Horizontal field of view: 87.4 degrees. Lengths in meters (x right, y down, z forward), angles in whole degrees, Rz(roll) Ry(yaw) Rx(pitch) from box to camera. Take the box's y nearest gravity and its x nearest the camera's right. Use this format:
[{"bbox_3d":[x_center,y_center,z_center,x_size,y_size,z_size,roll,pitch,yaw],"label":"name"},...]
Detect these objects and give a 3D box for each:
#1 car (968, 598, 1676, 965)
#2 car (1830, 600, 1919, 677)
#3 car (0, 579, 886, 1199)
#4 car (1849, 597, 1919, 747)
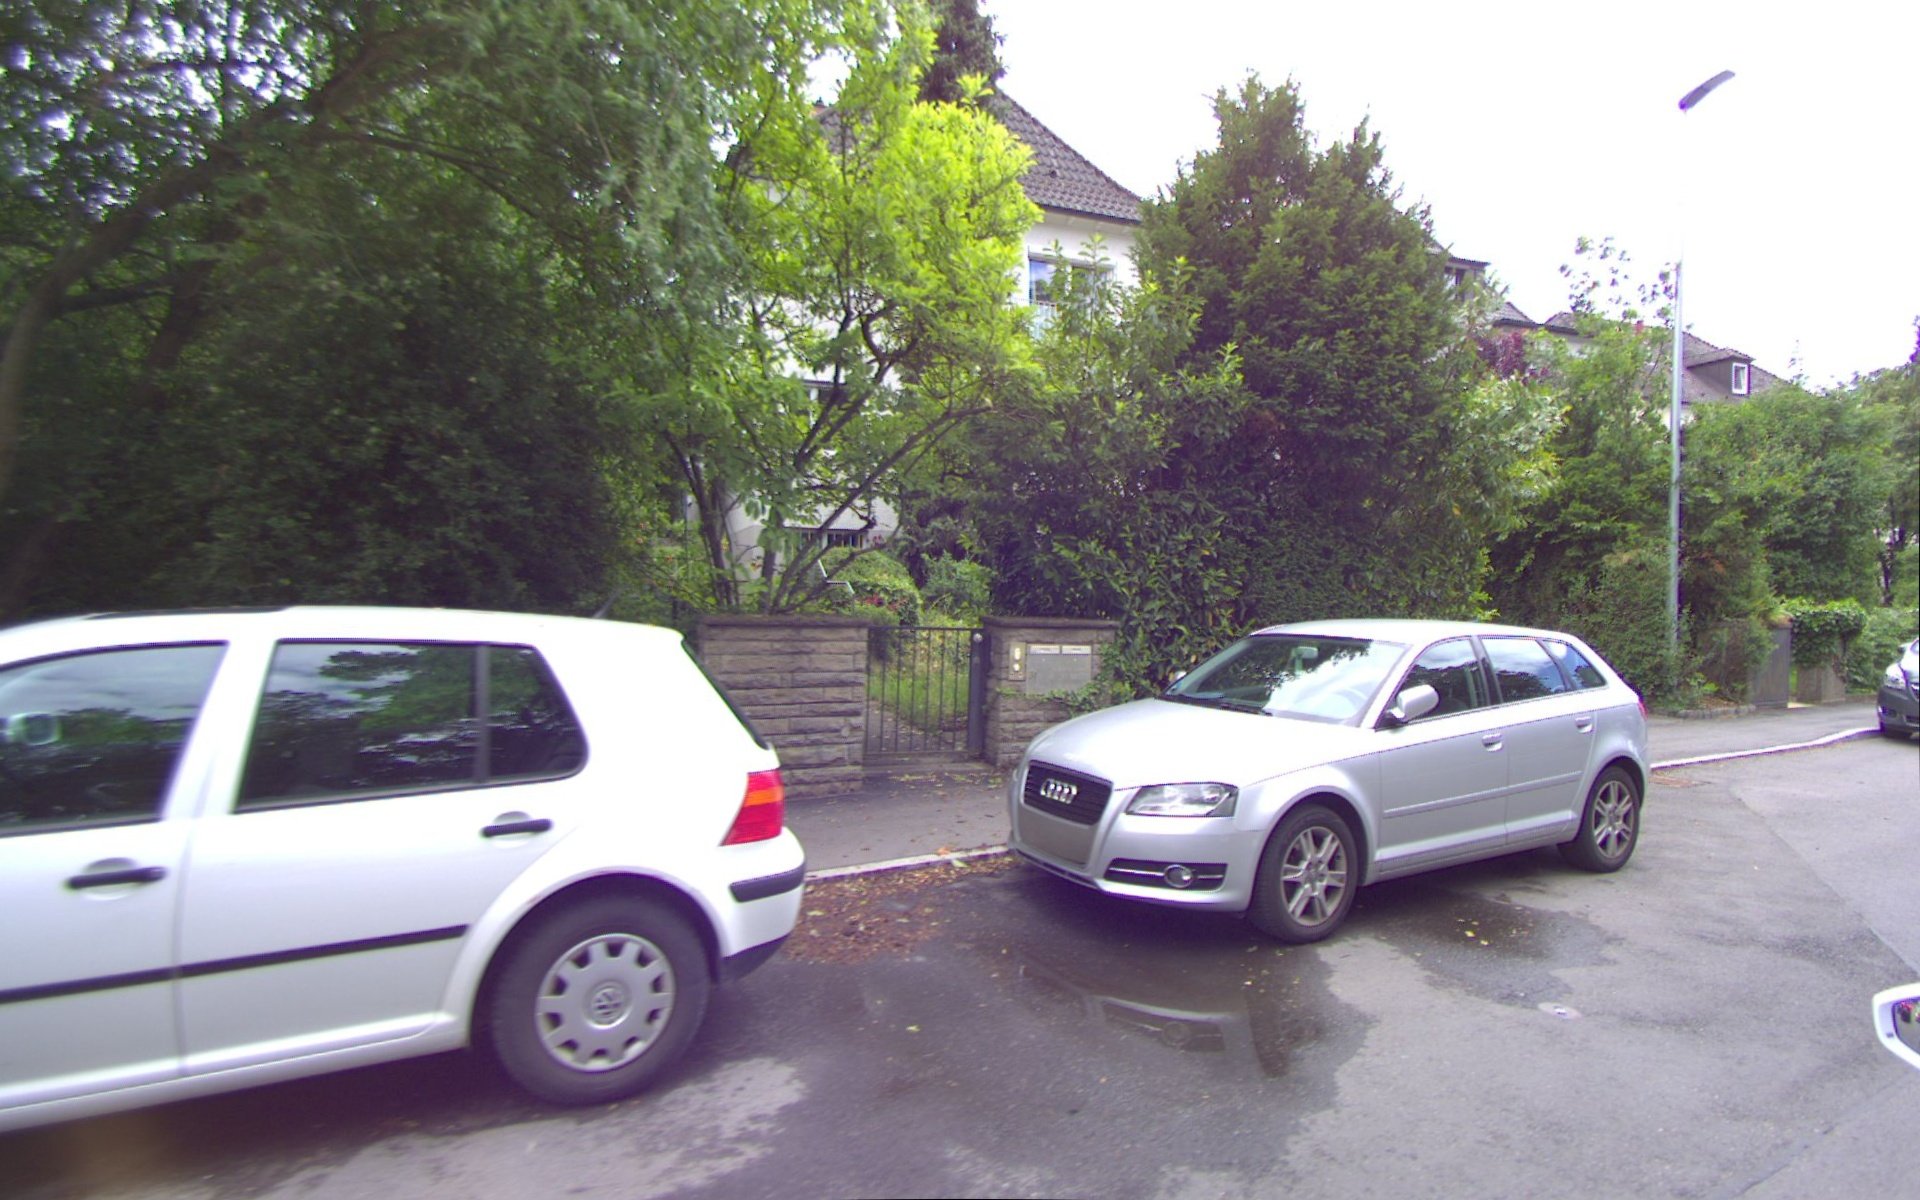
[{"bbox_3d":[2.192,0.768,5.757,4.046,1.469,1.615,1,-1,-31],"label":"car"},{"bbox_3d":[22.132,0.904,22.404,1.798,1.659,3.691,1,1,-16],"label":"car"},{"bbox_3d":[-2.532,0.688,3.010,4.328,1.472,1.652,1,0,-29],"label":"car"},{"bbox_3d":[12.768,0.857,12.105,4.515,1.654,1.723,1,1,-30],"label":"car"}]
